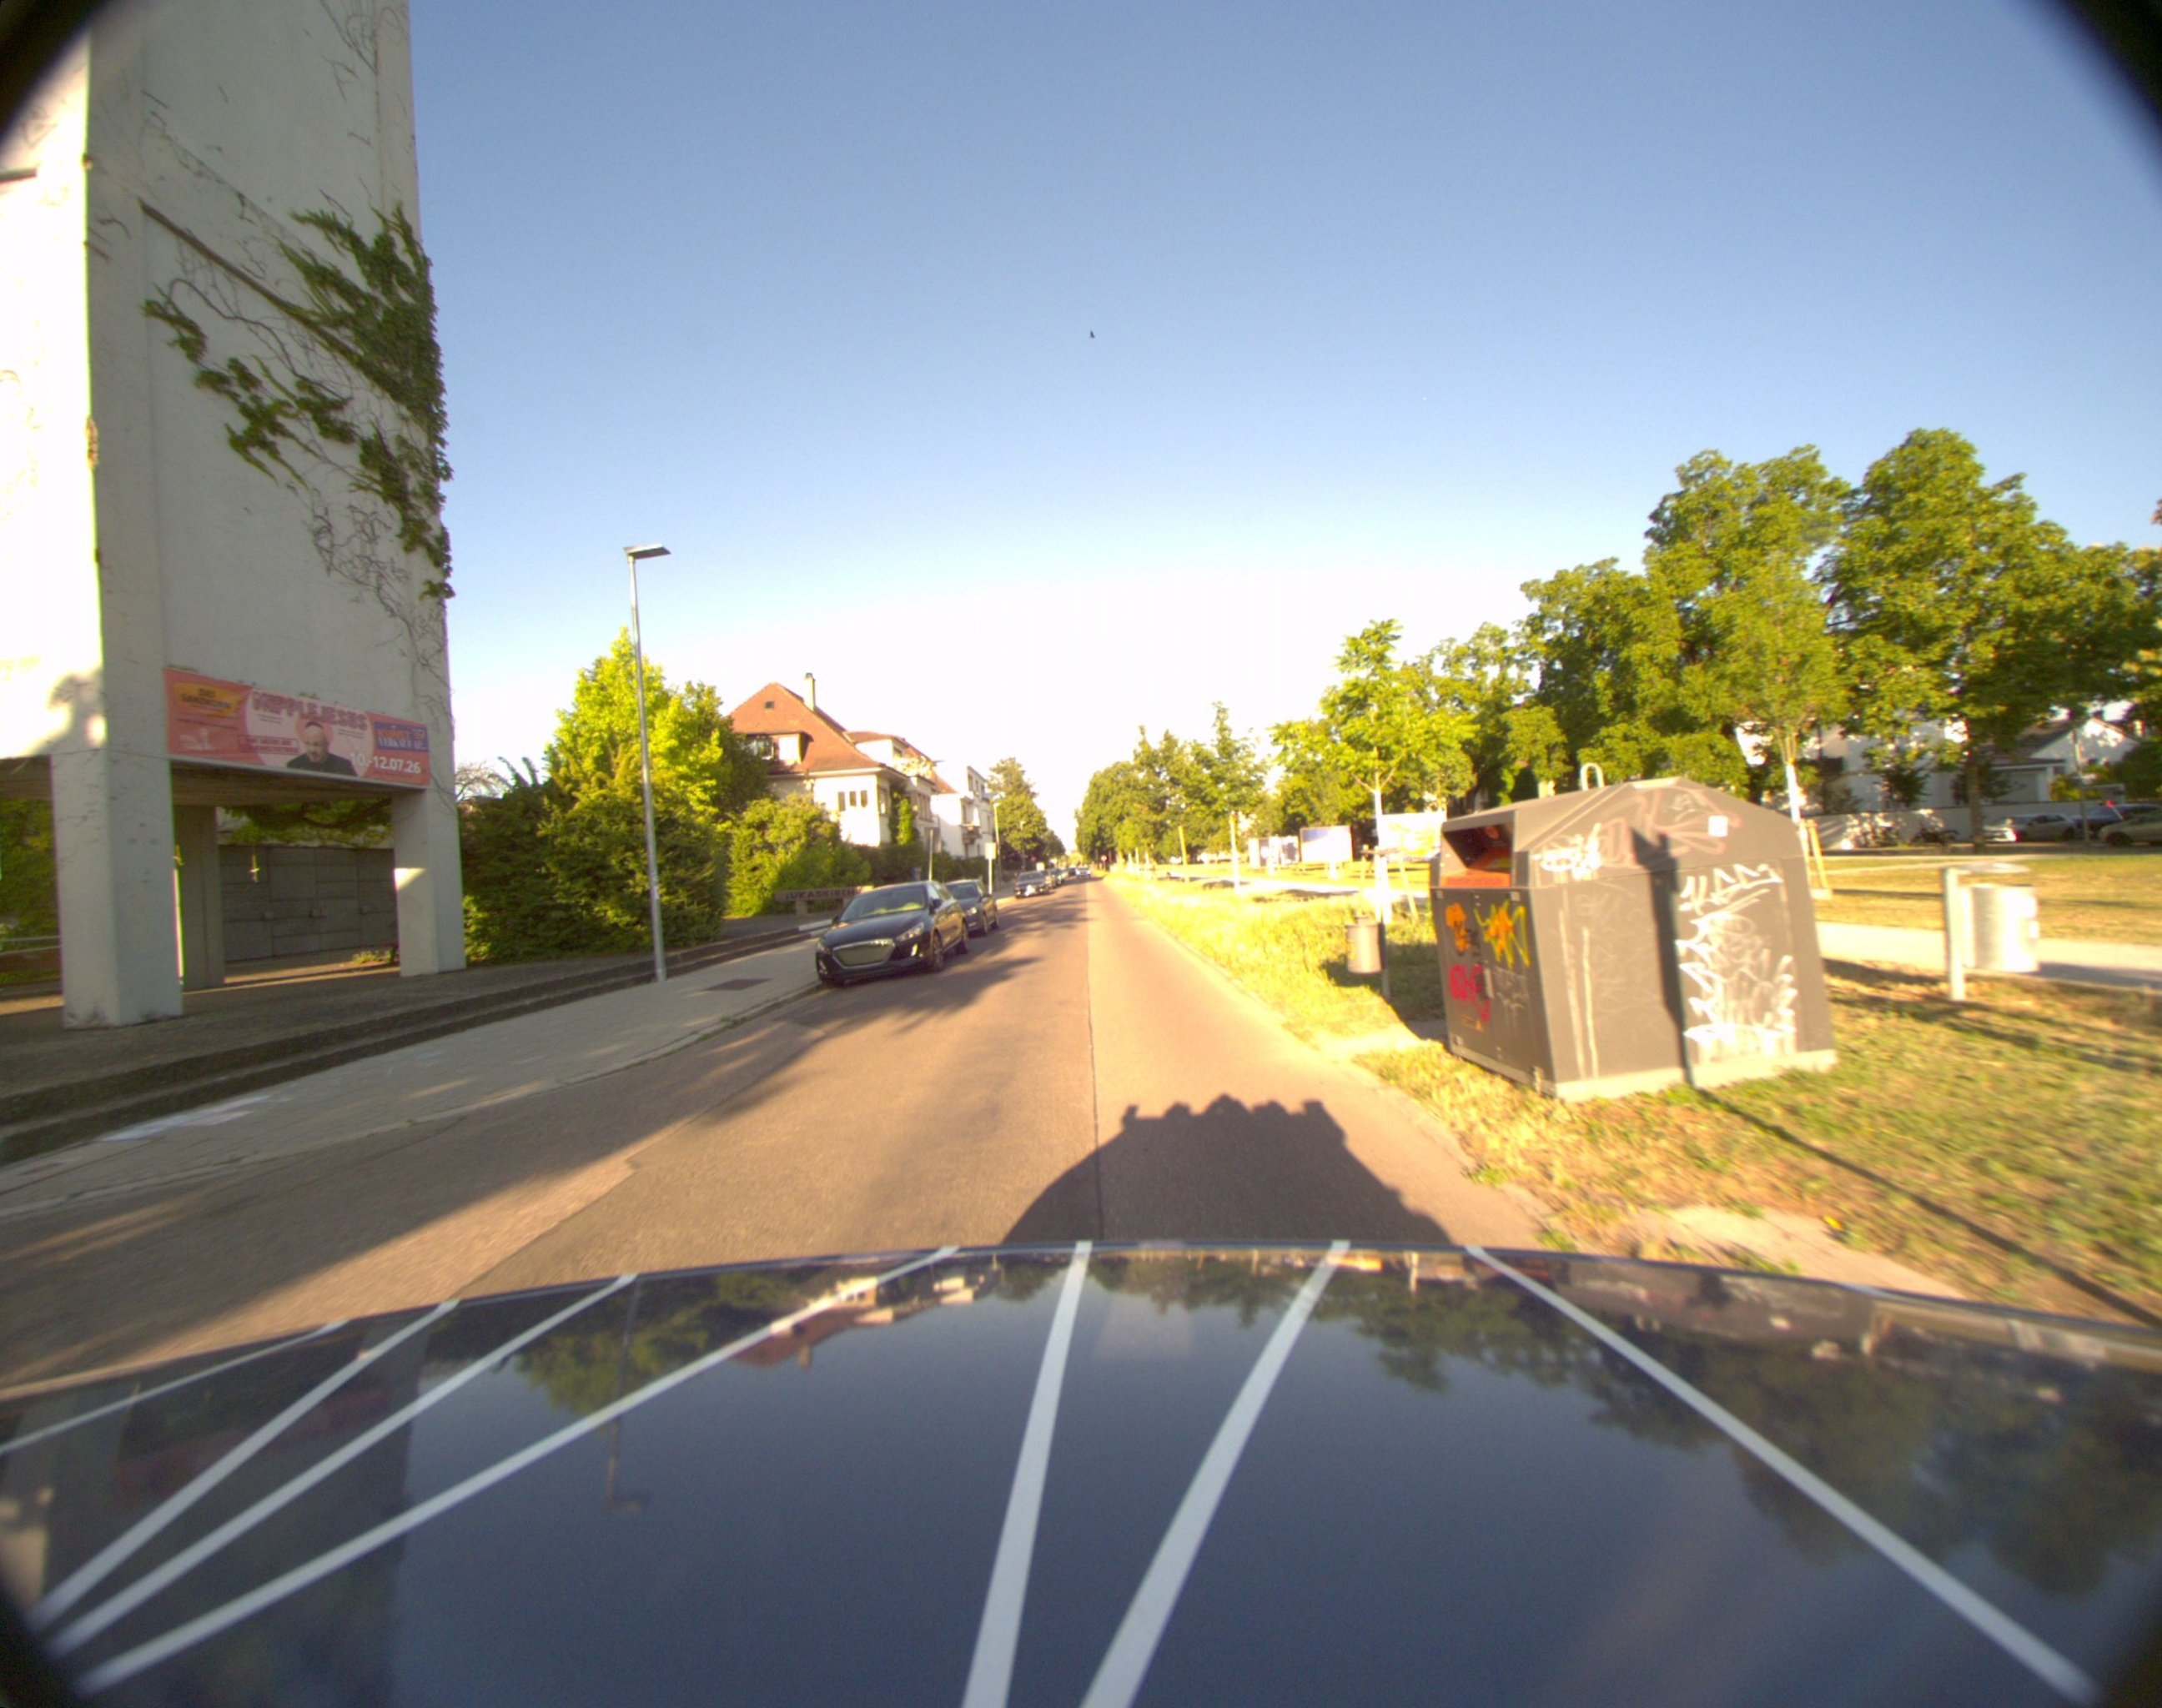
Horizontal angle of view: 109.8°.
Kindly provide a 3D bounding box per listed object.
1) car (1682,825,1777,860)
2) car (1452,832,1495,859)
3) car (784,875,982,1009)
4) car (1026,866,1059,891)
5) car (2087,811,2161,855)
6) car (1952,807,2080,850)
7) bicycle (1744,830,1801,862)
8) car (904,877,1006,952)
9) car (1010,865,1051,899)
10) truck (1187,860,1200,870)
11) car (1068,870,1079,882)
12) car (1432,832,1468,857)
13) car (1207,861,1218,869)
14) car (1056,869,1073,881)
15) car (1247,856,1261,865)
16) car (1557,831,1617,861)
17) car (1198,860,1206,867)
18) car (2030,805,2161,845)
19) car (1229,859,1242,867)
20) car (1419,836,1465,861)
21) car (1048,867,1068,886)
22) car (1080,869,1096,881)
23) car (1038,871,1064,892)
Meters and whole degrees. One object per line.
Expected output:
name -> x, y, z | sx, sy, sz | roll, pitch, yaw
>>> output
car -> 40.212, -0.659, 47.288 | 1.894, 1.900, 4.715 | -3, -1, 1
car -> 40.389, -0.832, 78.329 | 1.950, 2.624, 5.044 | 0, 0, 1
car -> -3.041, 1.281, 12.821 | 1.827, 1.552, 4.623 | -9, -1, 1
car -> -2.766, 1.784, 56.116 | 1.888, 1.527, 4.462 | -6, 0, 2
car -> 40.176, -0.834, 27.640 | 1.999, 1.533, 3.810 | -3, -1, -1
car -> 49.668, -1.334, 40.431 | 4.525, 1.888, 1.981 | -3, -1, -4
bicycle -> 31.091, -0.346, 34.204 | 0.512, 1.334, 2.331 | -3, -1, 4
car -> -3.090, 1.455, 19.533 | 1.692, 1.518, 4.176 | -7, -2, 1
car -> -2.918, 1.606, 45.010 | 1.999, 1.588, 4.886 | -7, 0, -1
truck -> 35.748, 3.488, 241.909 | 2.785, 3.127, 7.711 | -3, -1, -1
car -> -1.474, 4.272, 147.001 | 1.998, 2.178, 4.002 | -3, -2, 1
car -> 40.330, -1.012, 83.178 | 1.998, 2.526, 4.000 | -3, 1, 1
car -> 35.708, 2.953, 205.909 | 2.125, 2.002, 3.999 | 0, 0, -1
car -> -2.398, 3.016, 109.761 | 2.111, 1.396, 4.133 | -8, -1, 1
car -> 35.085, 1.316, 154.527 | 1.998, 1.833, 4.000 | 0, 0, 2
car -> 39.797, -0.590, 59.916 | 1.998, 2.141, 4.001 | -3, -1, 1
car -> 36.045, 2.826, 226.132 | 1.998, 2.001, 4.002 | -3, -2, 3
car -> 54.877, -1.542, 40.858 | 5.064, 1.758, 2.072 | -3, -1, 0
car -> 35.578, 2.005, 174.878 | 1.998, 1.692, 4.001 | -3, -2, 1
car -> 34.410, -0.472, 72.529 | 1.999, 2.161, 4.572 | -3, -2, -2
car -> -2.444, 2.377, 80.795 | 1.806, 1.638, 4.584 | -8, 0, -1
car -> 0.868, 2.731, 98.437 | 1.999, 1.483, 4.001 | -1, -1, -1
car -> -2.583, 2.411, 66.476 | 1.916, 1.549, 4.568 | -7, -2, 1
